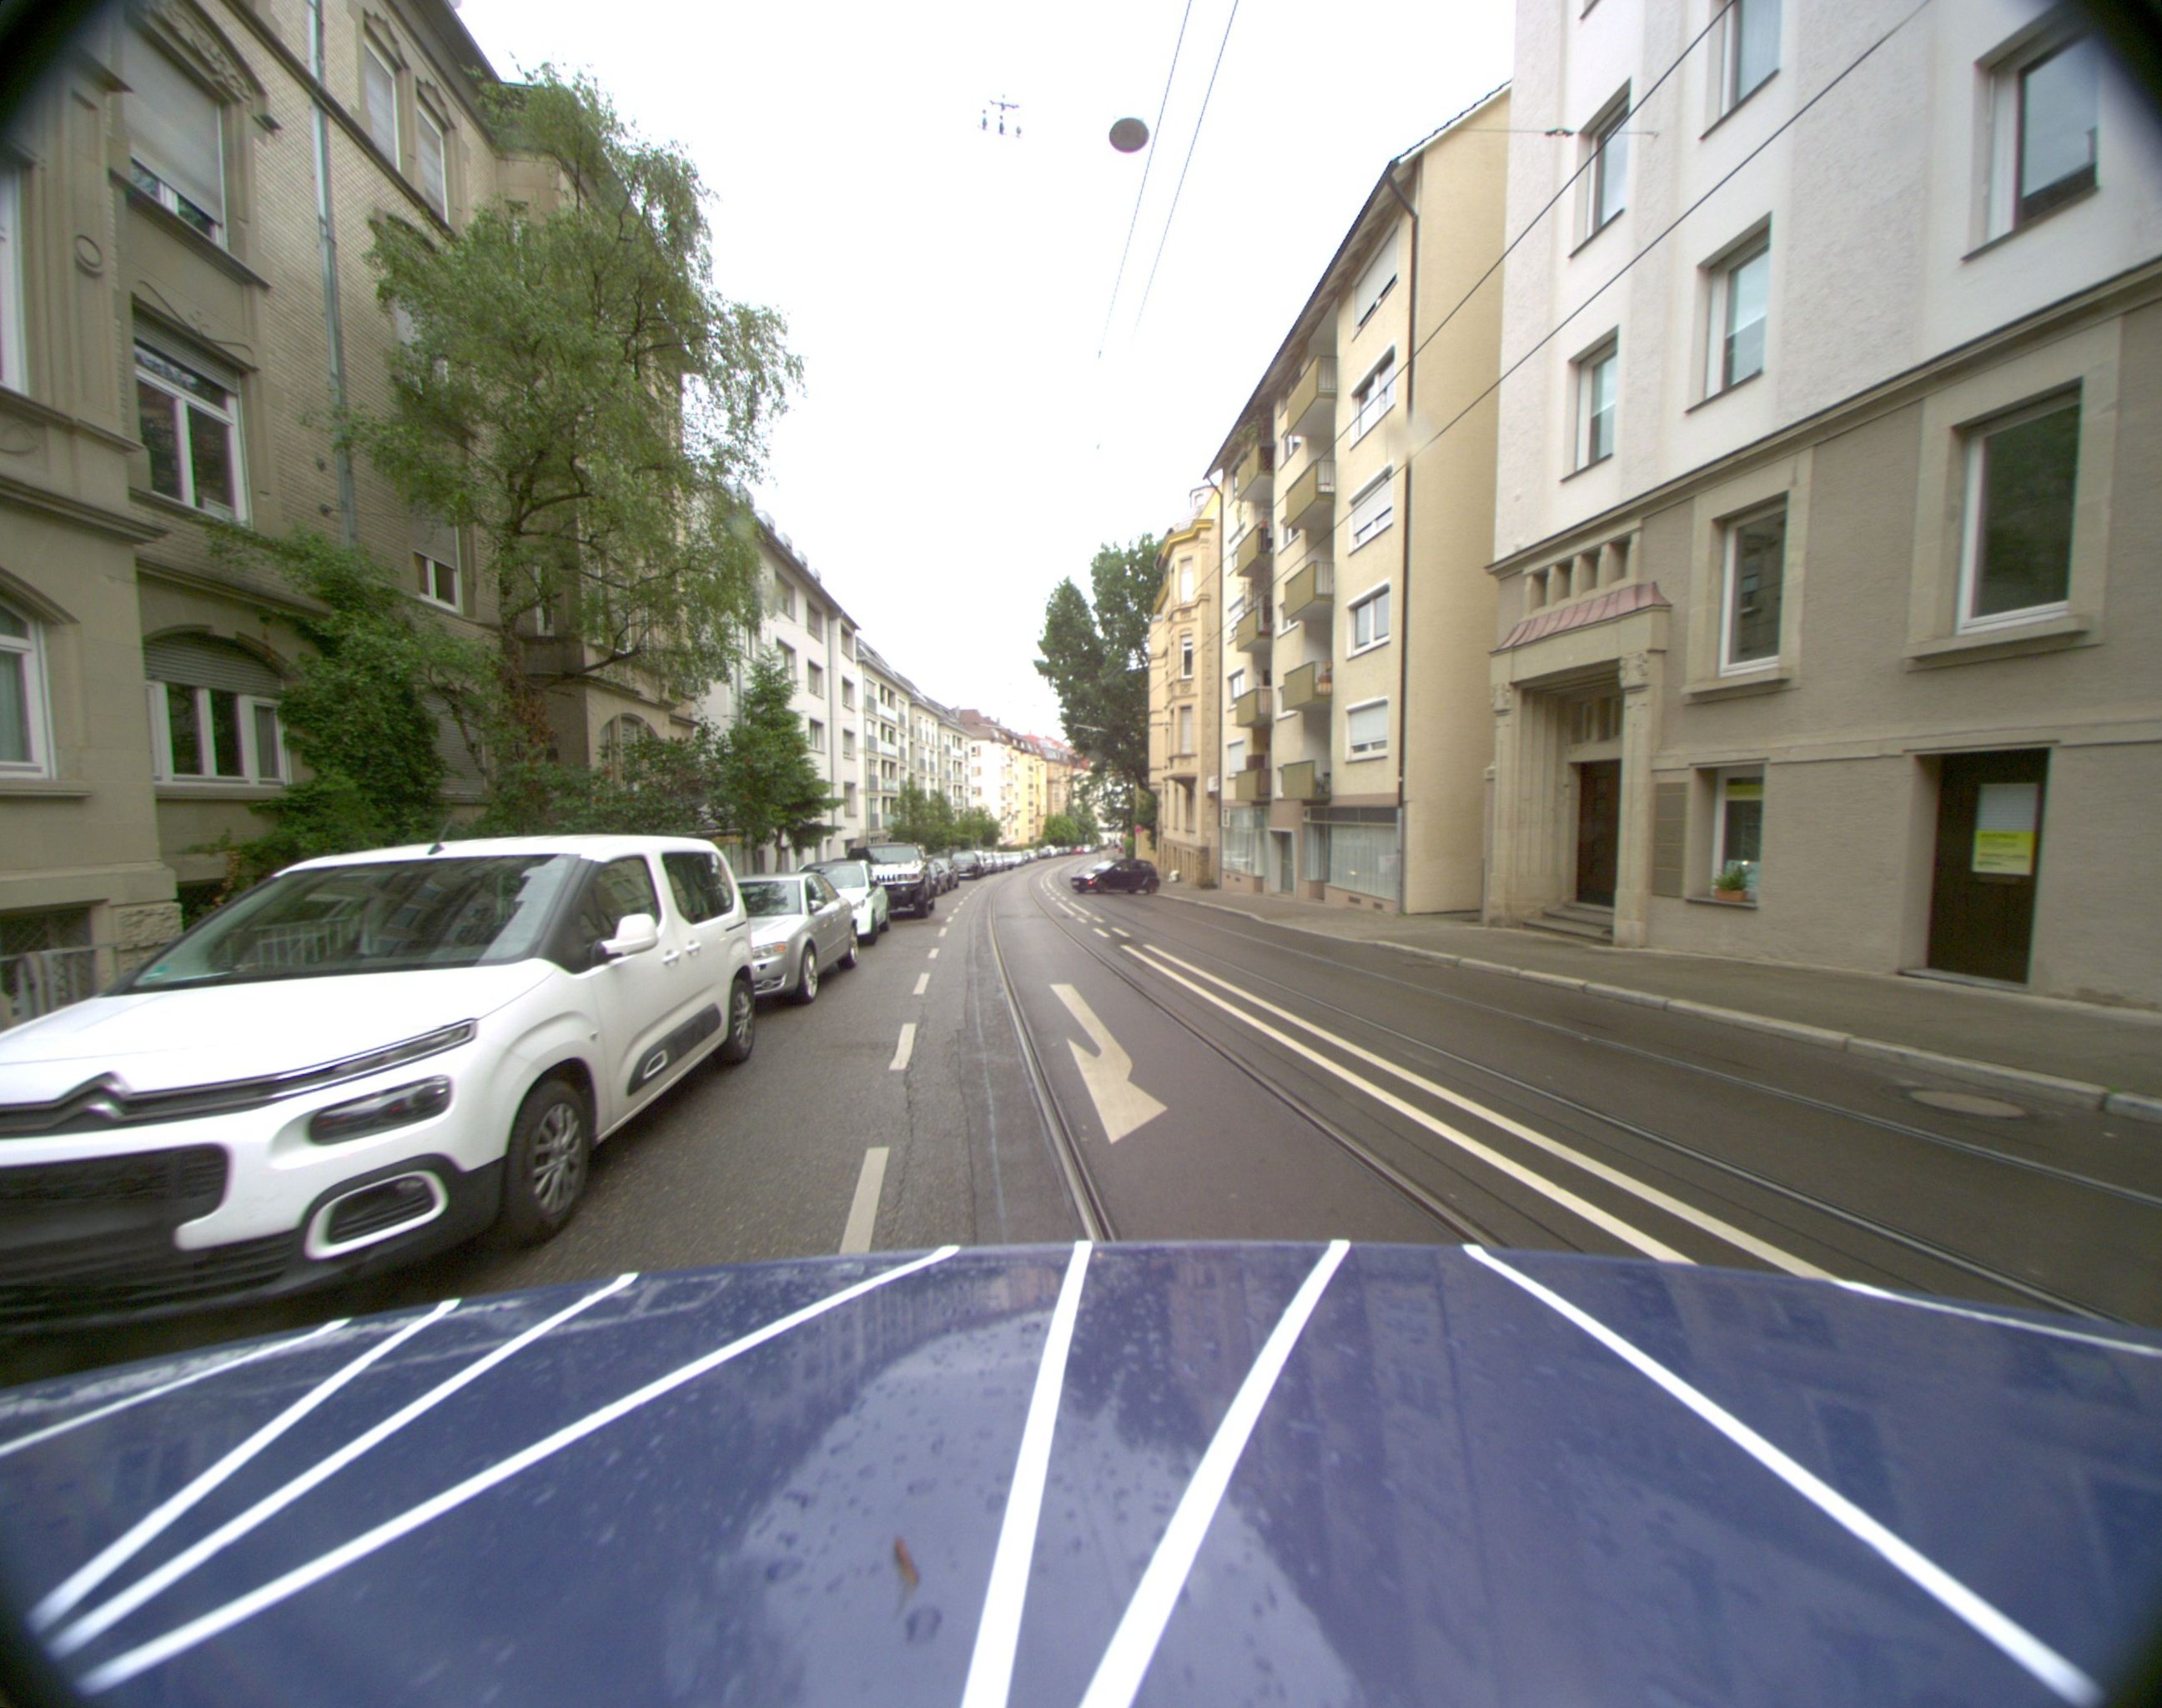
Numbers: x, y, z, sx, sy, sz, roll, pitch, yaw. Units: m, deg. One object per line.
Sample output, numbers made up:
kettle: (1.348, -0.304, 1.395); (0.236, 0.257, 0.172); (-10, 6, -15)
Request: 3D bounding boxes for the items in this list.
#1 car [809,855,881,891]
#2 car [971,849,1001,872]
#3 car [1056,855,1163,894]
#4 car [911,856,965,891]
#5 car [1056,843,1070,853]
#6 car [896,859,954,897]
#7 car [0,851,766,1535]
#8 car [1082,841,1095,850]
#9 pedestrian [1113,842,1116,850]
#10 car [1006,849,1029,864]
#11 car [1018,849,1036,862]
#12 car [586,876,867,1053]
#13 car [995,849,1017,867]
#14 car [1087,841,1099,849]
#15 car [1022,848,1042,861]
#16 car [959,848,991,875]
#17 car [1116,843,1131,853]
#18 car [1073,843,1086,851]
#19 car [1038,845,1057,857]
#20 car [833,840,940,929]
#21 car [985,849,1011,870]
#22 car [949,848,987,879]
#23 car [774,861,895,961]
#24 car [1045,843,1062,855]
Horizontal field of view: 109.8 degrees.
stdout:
car: (-10.815, 0.821, 35.173); (1.817, 1.418, 4.153); (-3, 1, 2)
car: (-7.473, 0.494, 60.242); (1.837, 1.647, 4.685); (-1, 1, -1)
car: (1.177, 0.783, 31.145); (4.005, 1.445, 1.737); (-1, 1, -25)
car: (-6.586, 0.852, 35.394); (1.799, 1.429, 4.609); (-2, 1, -3)
car: (-2.787, -0.879, 118.393); (1.590, 1.434, 3.477); (-2, 2, 6)
car: (-6.240, 0.930, 30.757); (1.683, 1.330, 3.881); (-2, 1, -3)
car: (-3.306, 0.906, 4.169); (1.803, 1.755, 4.459); (-3, 1, -9)
car: (1.411, -1.570, 139.316); (1.612, 1.434, 3.690); (-1, 2, 13)
pedestrian: (7.490, -1.804, 169.187); (0.649, 1.652, 0.650); (0, 1, 4)
car: (-6.747, 0.212, 81.172); (1.862, 1.507, 4.789); (-1, 1, 2)
car: (-6.317, 0.130, 88.609); (1.600, 1.416, 3.515); (-1, 1, 4)
car: (-3.927, 1.089, 9.351); (1.754, 1.392, 4.475); (-3, 1, -7)
car: (-7.054, 0.351, 71.548); (1.981, 1.576, 4.563); (-1, 1, -5)
car: (2.289, -1.707, 143.293); (1.612, 1.434, 3.690); (-1, 2, 13)
car: (-5.958, 0.004, 93.420); (1.721, 1.459, 4.391); (-1, 1, 6)
car: (-7.425, 0.512, 53.673); (1.783, 1.785, 4.469); (-1, 1, -3)
car: (7.936, -1.185, 142.919); (2.067, 1.668, 4.774); (2, 2, 12)
car: (-0.224, -1.248, 130.805); (1.556, 1.360, 3.126); (-1, 2, 13)
car: (-4.564, -0.447, 104.095); (1.797, 1.444, 4.104); (-2, 2, 9)
car: (-5.096, 0.689, 20.662); (2.135, 2.002, 5.346); (-3, 1, -8)
car: (-7.171, 0.440, 66.023); (1.837, 1.618, 4.661); (-1, 1, -2)
car: (-7.181, 0.579, 48.683); (1.948, 1.785, 4.818); (-2, 1, -4)
car: (-4.589, 0.976, 14.608); (1.565, 1.537, 3.581); (-3, 1, -9)
car: (-3.937, -0.683, 109.249); (1.798, 1.613, 3.868); (-2, 2, 6)
